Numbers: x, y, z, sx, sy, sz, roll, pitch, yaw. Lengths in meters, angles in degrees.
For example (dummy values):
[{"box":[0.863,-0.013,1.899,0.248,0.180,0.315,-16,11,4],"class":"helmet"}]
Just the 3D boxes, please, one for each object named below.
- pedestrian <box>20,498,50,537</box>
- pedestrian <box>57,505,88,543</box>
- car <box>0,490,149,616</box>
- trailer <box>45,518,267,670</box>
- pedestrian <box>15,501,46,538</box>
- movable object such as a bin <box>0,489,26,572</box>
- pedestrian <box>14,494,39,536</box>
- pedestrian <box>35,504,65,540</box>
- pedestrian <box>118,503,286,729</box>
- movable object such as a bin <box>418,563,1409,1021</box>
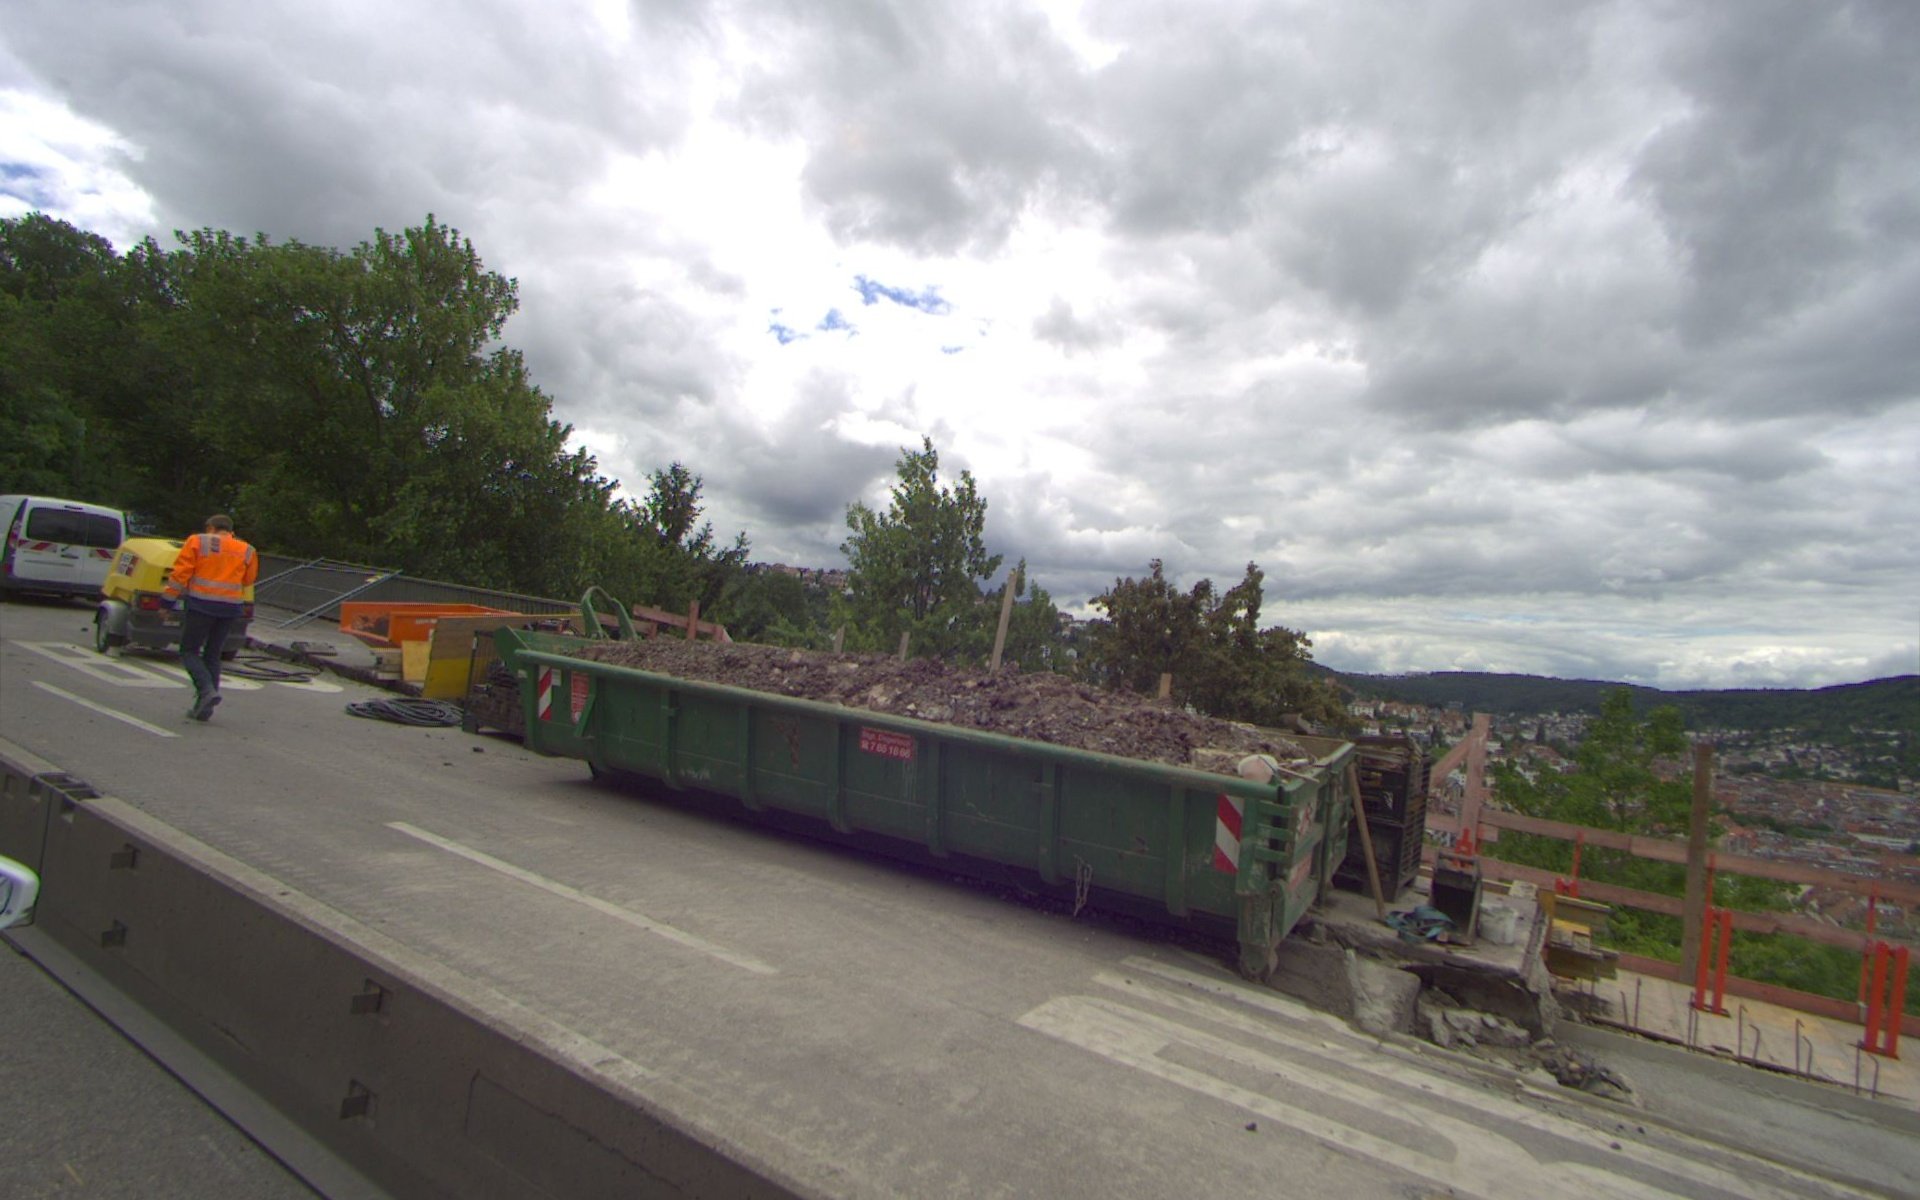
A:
[{"box":[-47.044,-4.178,51.175,0.871,1.844,0.870,7,0,-36],"class":"pedestrian"},{"box":[-44.309,-3.785,50.236,0.774,1.708,0.782,7,0,-20],"class":"pedestrian"},{"box":[-16.183,-0.909,17.684,4.202,1.800,1.834,6,-2,36],"class":"car"},{"box":[-10.233,-0.123,12.722,3.580,1.492,1.289,6,-2,38],"class":"trailer"},{"box":[-46.510,-4.022,50.343,0.871,1.752,0.870,7,0,-36],"class":"pedestrian"},{"box":[-25.054,-1.914,25.232,4.104,1.965,1.701,6,-2,40],"class":"movable object such as a bin"},{"box":[-45.863,-4.179,49.436,0.814,1.929,0.689,7,0,42],"class":"pedestrian"},{"box":[-45.216,-3.866,49.996,0.774,1.627,0.664,7,0,-20],"class":"pedestrian"},{"box":[-6.235,0.133,8.285,0.836,1.721,0.646,7,-2,32],"class":"pedestrian"},{"box":[-0.684,0.933,7.393,6.979,1.579,2.380,6,-2,30],"class":"movable object such as a bin"}]
